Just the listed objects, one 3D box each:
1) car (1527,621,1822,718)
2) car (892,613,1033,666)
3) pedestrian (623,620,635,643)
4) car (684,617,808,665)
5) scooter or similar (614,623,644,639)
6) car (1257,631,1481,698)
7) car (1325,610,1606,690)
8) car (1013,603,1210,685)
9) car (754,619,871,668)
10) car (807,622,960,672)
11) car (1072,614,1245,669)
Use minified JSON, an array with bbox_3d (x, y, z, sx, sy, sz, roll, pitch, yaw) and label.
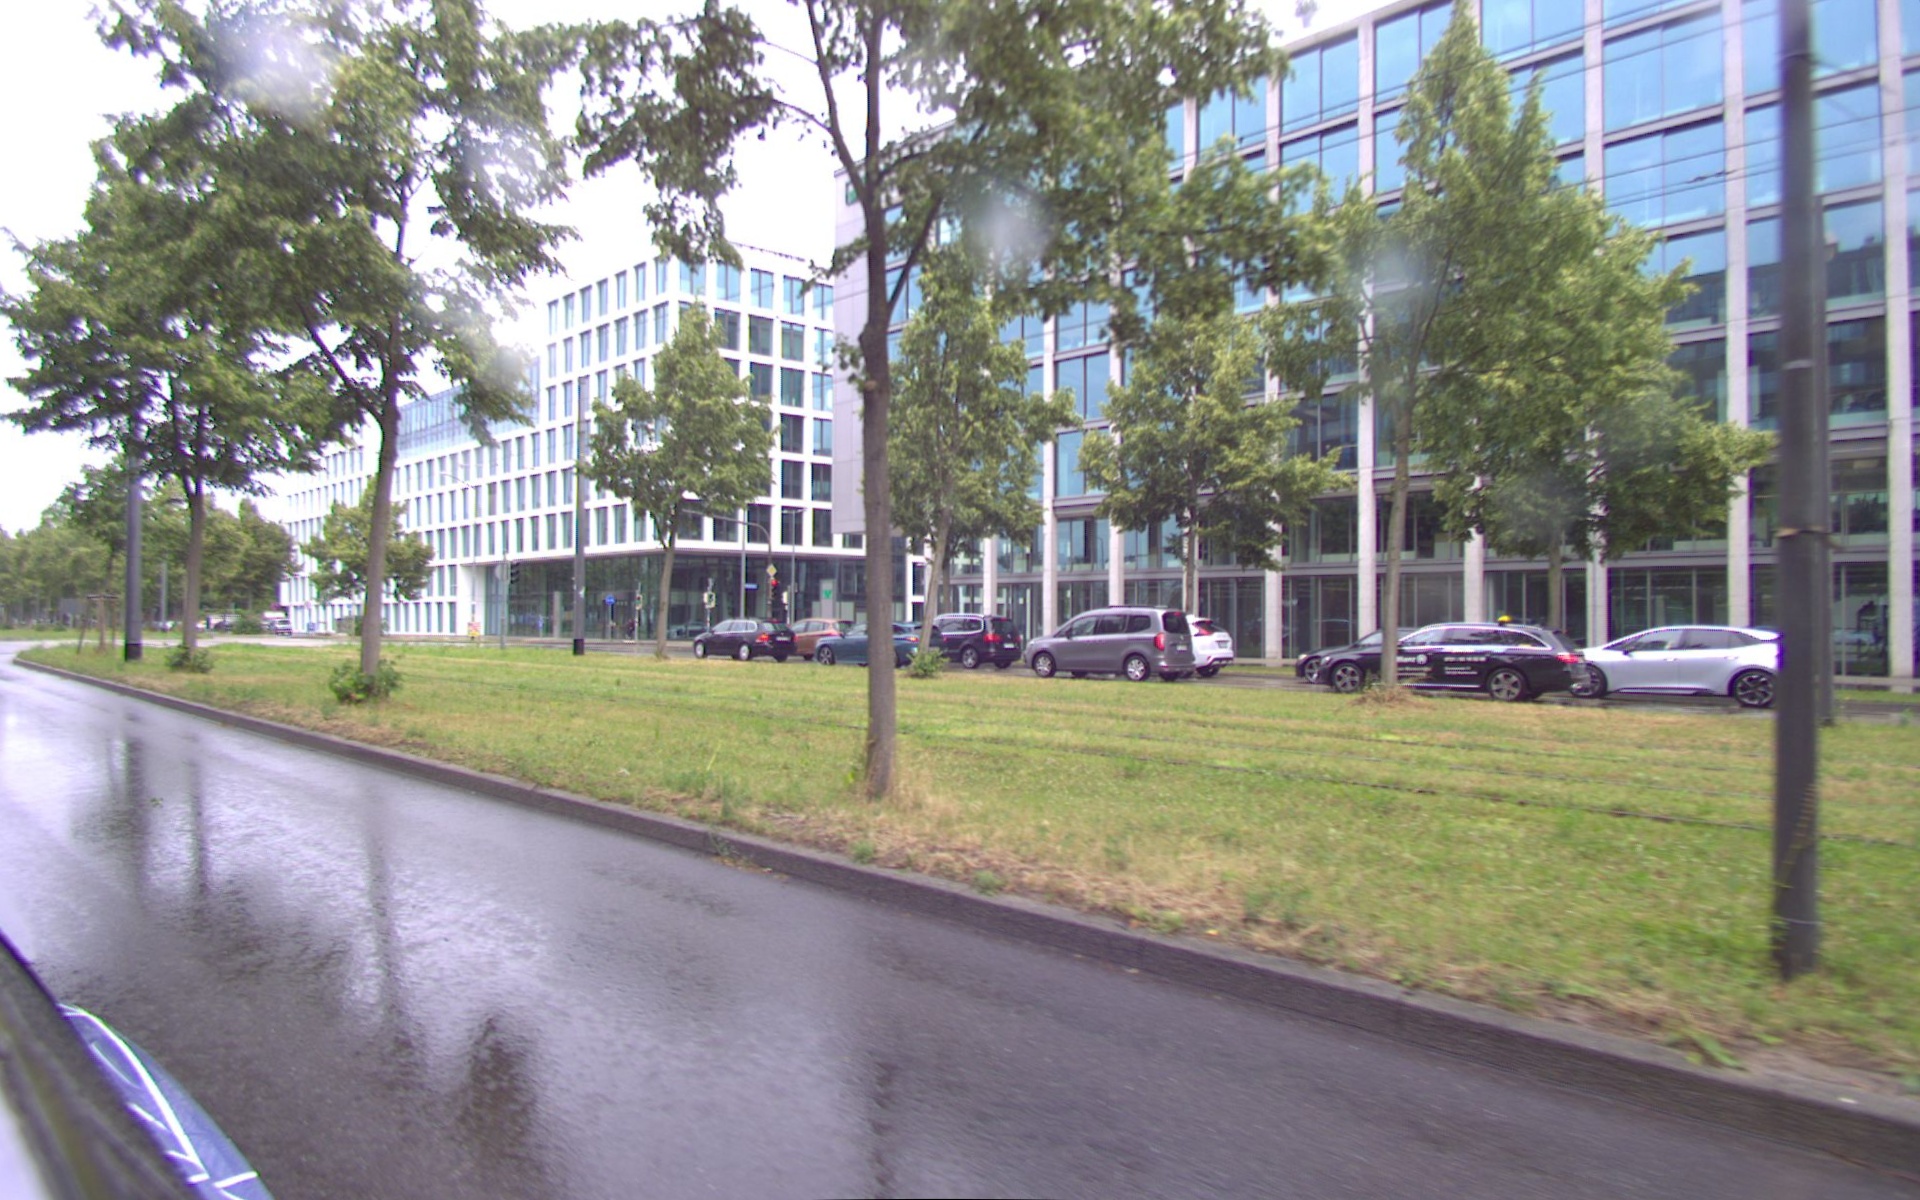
[{"bbox_3d":[14.284,1.380,20.449,4.628,1.759,1.931,-4,-3,39],"label":"car"},{"bbox_3d":[0.029,1.299,32.589,4.267,1.552,1.931,-4,-3,39],"label":"car"},{"bbox_3d":[-24.617,2.334,75.235,0.546,1.656,0.626,0,-1,42],"label":"pedestrian"},{"bbox_3d":[-7.489,1.425,35.251,4.461,1.571,1.930,-3,-3,41],"label":"car"},{"bbox_3d":[-24.622,2.308,75.242,0.550,1.161,2.134,-4,-3,39],"label":"scooter or similar"},{"bbox_3d":[9.723,1.534,24.266,4.620,1.457,1.840,-4,-3,39],"label":"car"},{"bbox_3d":[9.857,0.997,19.951,4.601,1.396,1.931,-4,-3,40],"label":"car"},{"bbox_3d":[3.716,1.082,25.355,4.540,1.863,1.930,-2,-3,41],"label":"car"},{"bbox_3d":[-5.490,1.560,37.452,4.268,1.707,1.931,0,-2,40],"label":"car"},{"bbox_3d":[-2.325,1.429,30.166,4.468,1.396,1.931,-4,-4,40],"label":"car"},{"bbox_3d":[5.454,1.181,28.077,4.267,1.396,1.931,-4,-3,39],"label":"car"}]
